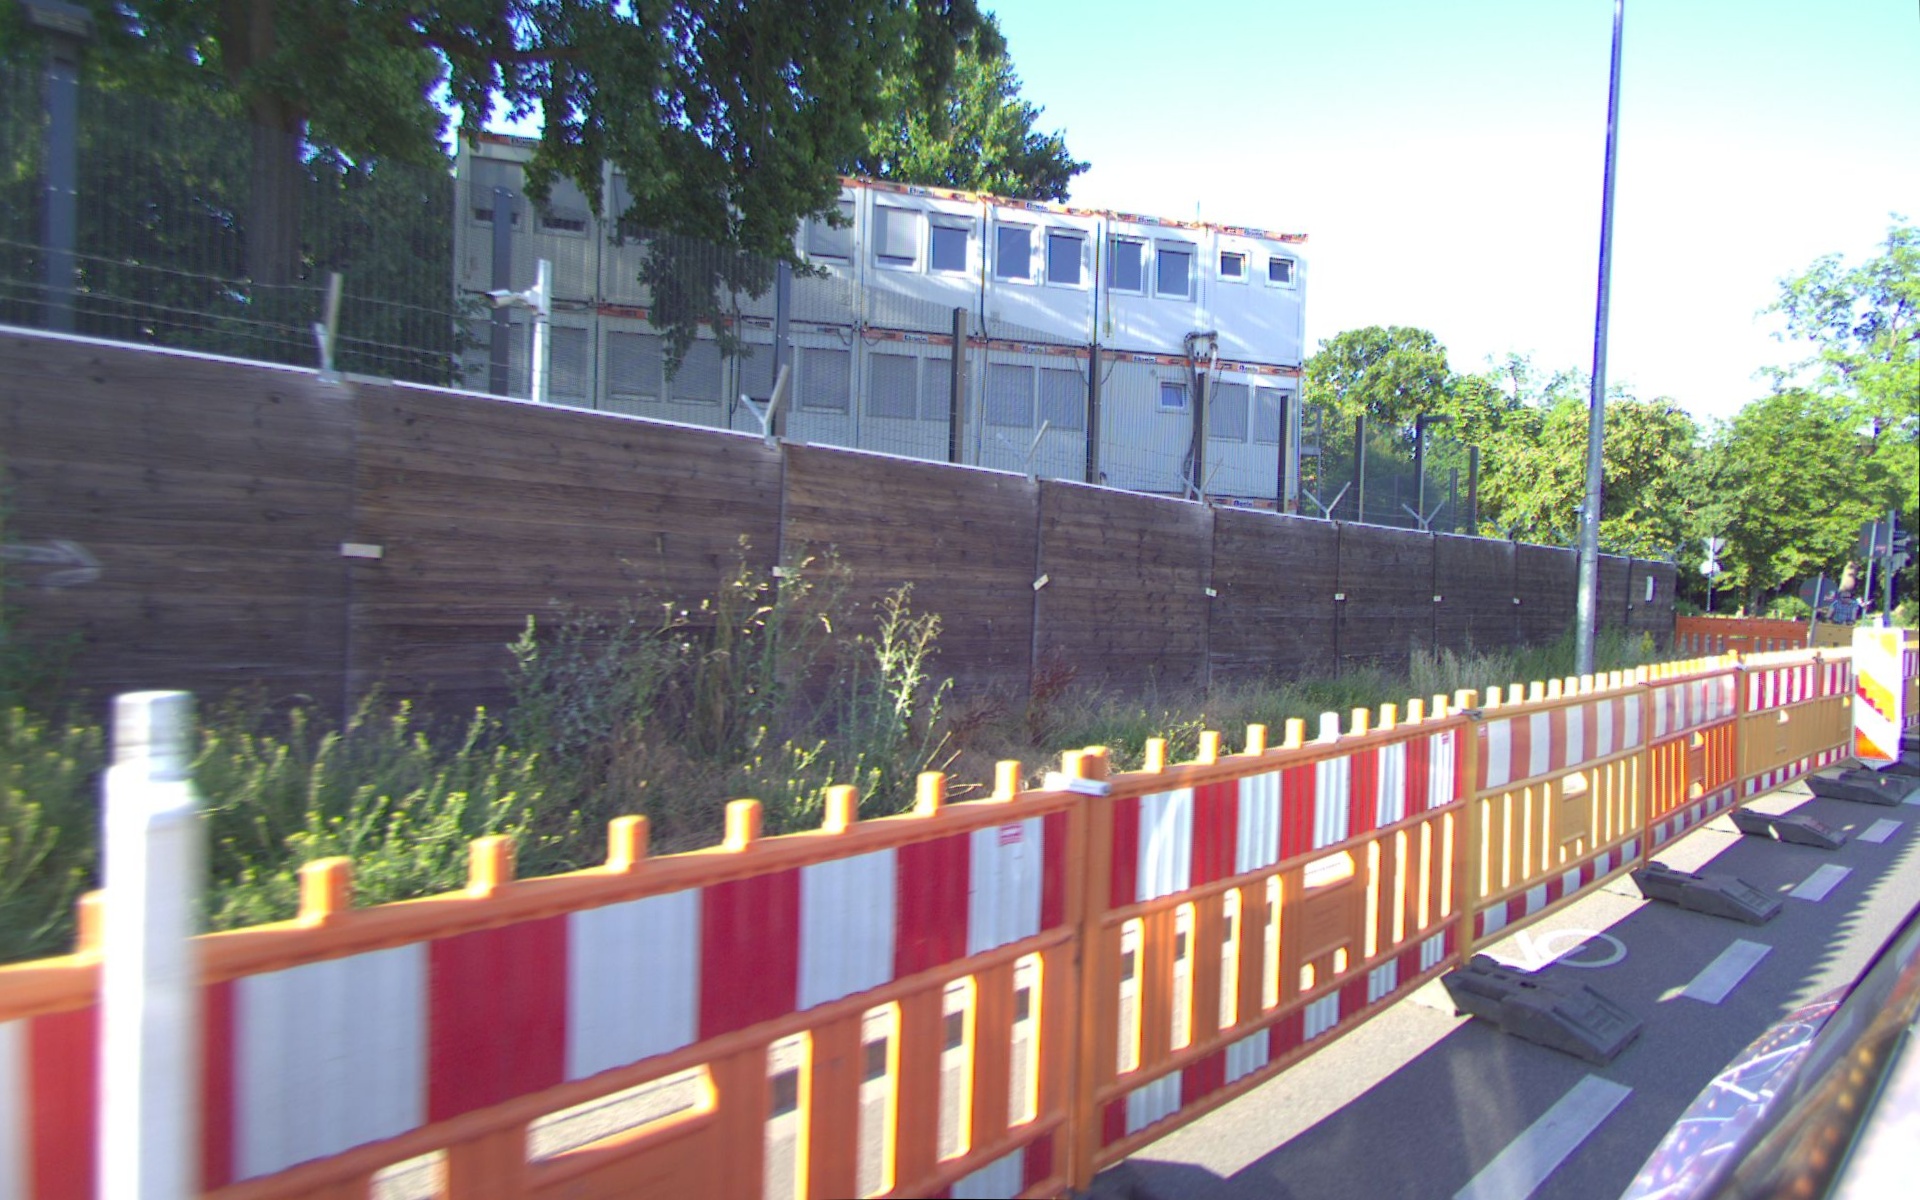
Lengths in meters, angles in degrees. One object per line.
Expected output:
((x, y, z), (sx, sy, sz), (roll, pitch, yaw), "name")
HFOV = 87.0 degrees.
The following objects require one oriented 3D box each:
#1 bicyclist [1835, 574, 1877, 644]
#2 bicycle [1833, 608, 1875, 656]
((21.638, 0.208, 24.430), (0.887, 1.634, 0.585), (0, 2, -40), "bicyclist")
((21.609, 0.756, 24.455), (1.877, 1.074, 0.429), (0, 2, -40), "bicycle")
